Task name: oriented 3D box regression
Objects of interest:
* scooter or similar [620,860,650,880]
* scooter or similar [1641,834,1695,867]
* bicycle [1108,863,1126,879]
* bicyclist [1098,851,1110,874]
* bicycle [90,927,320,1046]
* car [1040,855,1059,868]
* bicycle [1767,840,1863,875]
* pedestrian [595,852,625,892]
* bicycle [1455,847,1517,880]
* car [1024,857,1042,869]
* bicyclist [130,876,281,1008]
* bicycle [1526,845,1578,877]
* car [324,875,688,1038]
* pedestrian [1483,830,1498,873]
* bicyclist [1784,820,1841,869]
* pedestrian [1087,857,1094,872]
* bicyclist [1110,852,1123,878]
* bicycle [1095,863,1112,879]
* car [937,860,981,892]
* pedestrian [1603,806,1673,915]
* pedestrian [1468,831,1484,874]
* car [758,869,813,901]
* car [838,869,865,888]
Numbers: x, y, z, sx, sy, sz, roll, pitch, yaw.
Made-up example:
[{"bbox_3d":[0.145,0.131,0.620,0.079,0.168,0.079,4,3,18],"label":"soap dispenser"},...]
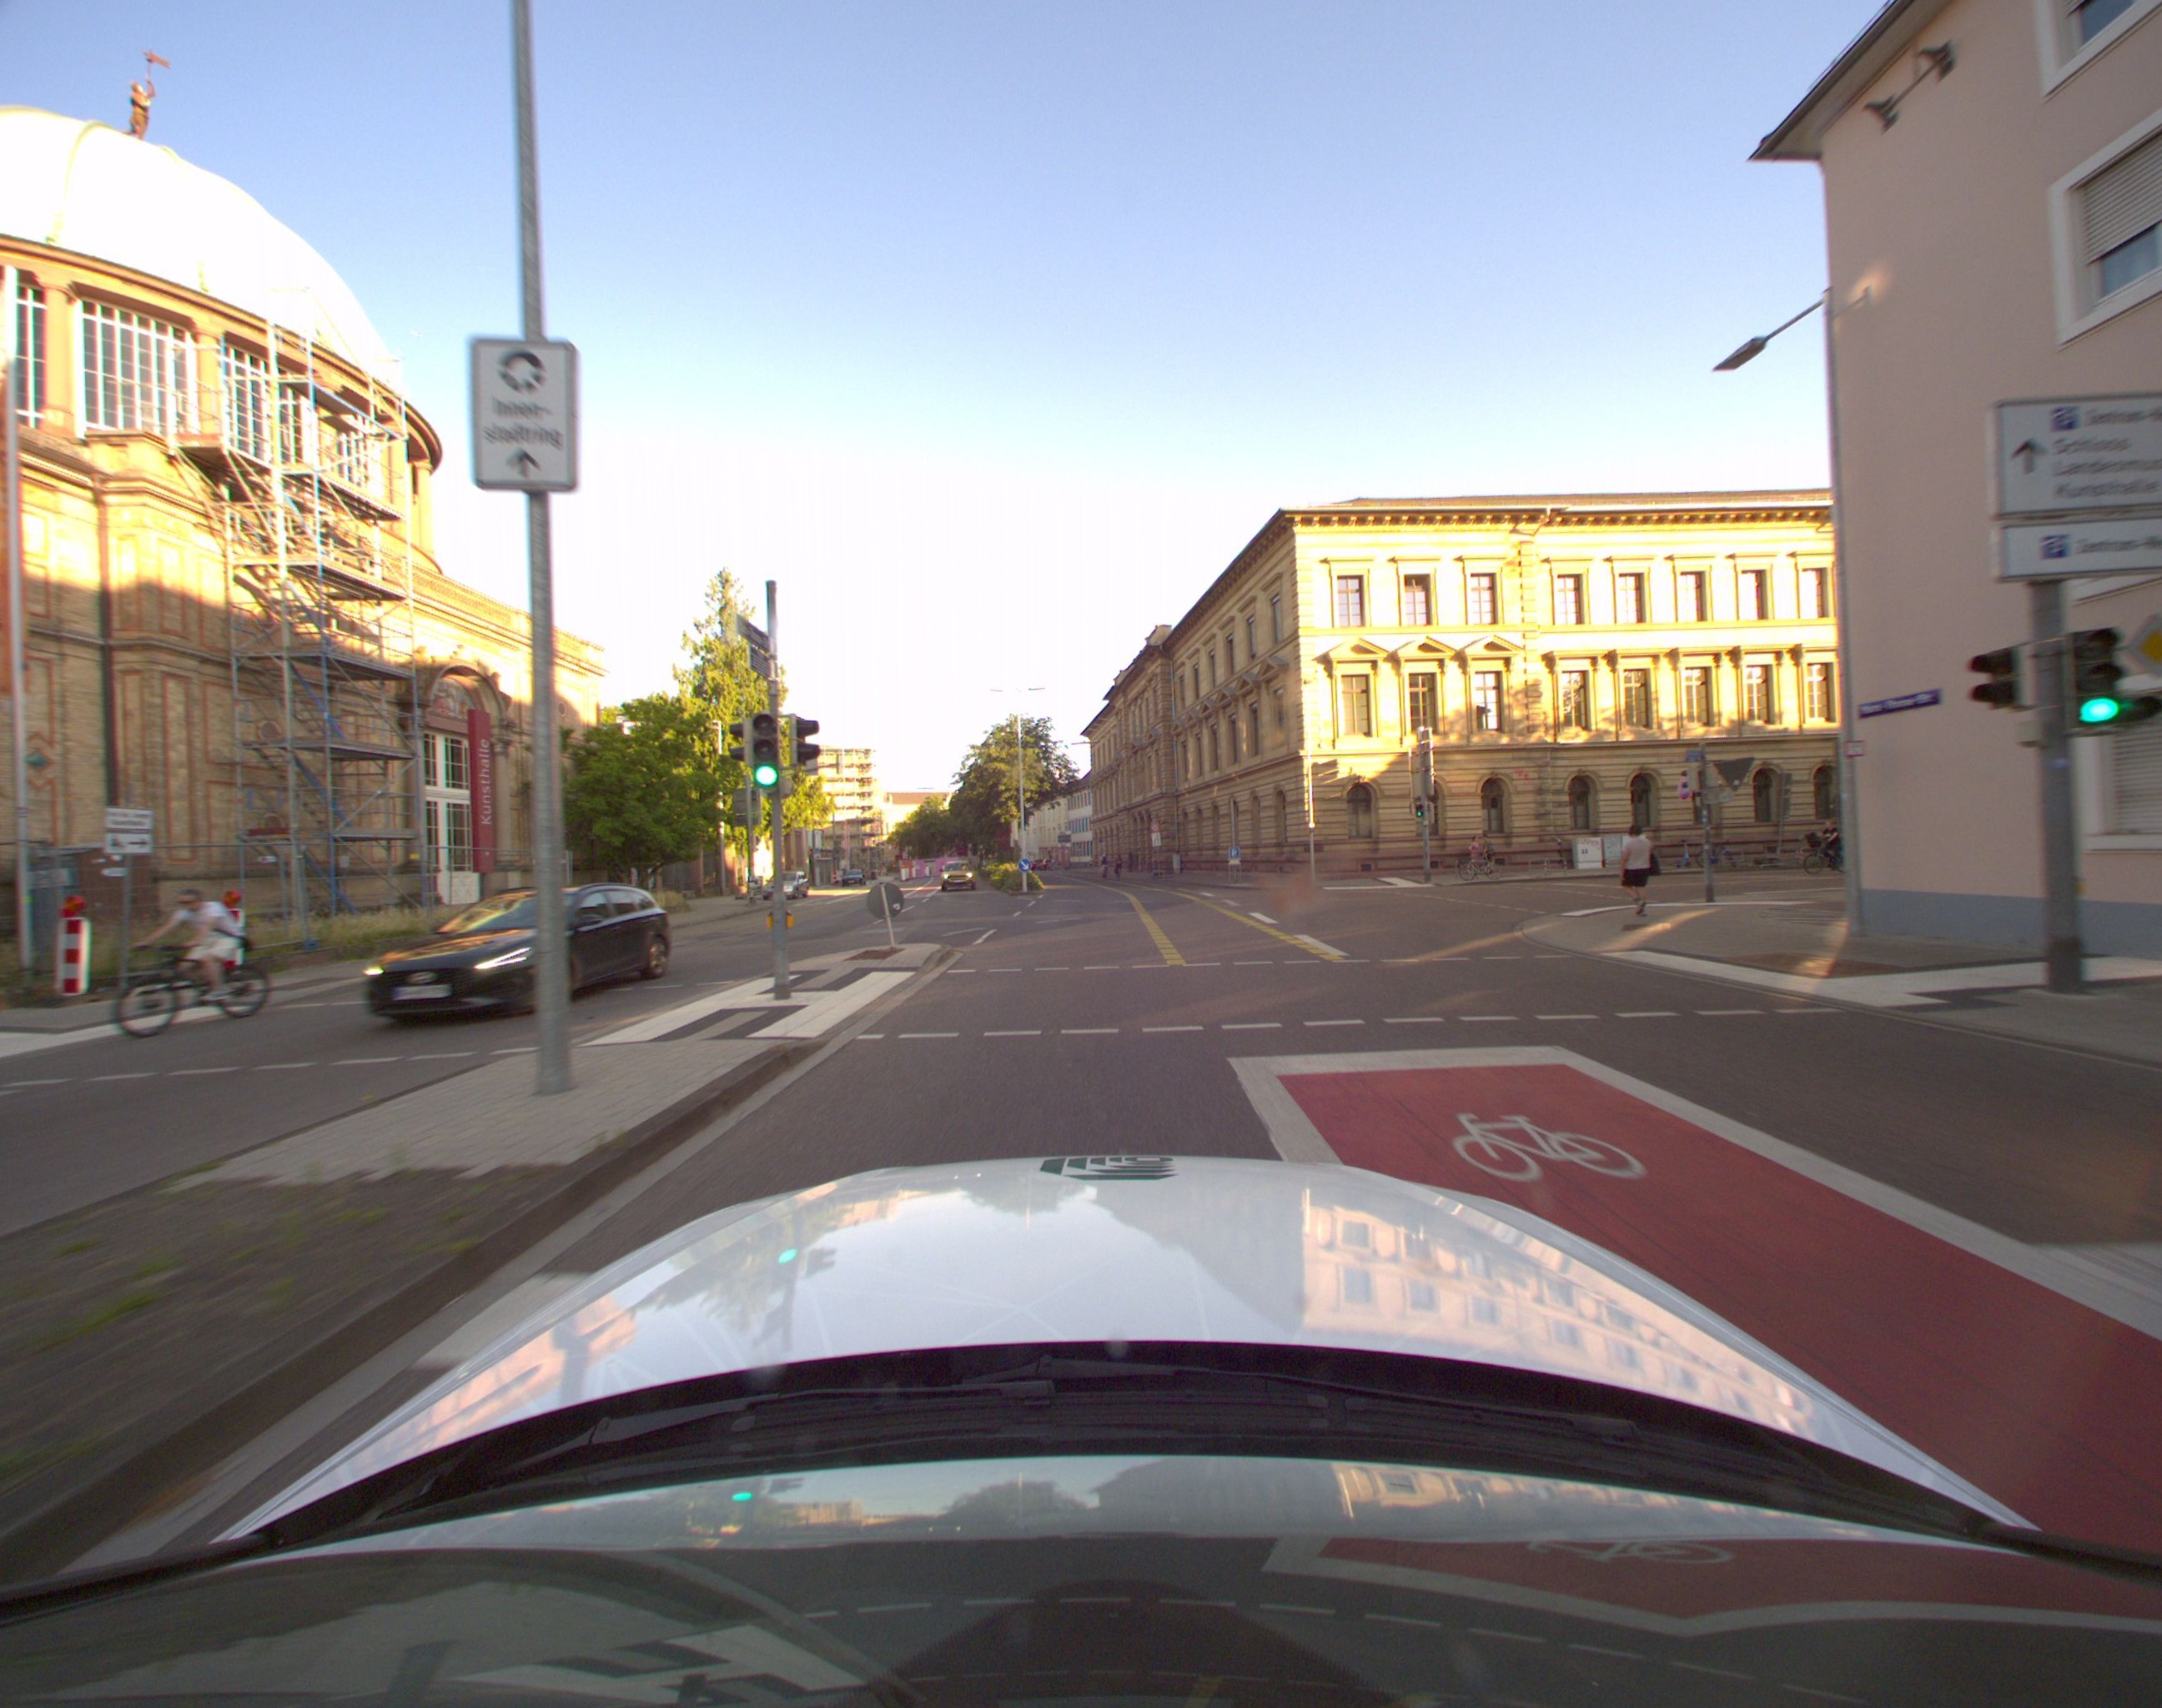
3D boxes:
[{"bbox_3d":[-17.945,0.641,32.789,0.677,0.777,1.027,-2,0,-5],"label":"scooter or similar"},{"bbox_3d":[25.063,-0.137,34.794,0.917,1.327,1.911,-3,0,2],"label":"scooter or similar"},{"bbox_3d":[2.455,1.166,55.803,0.653,1.071,2.248,0,-1,-12],"label":"bicycle"},{"bbox_3d":[1.535,0.574,54.920,0.669,1.566,0.695,0,-1,-13],"label":"bicyclist"},{"bbox_3d":[-10.569,1.545,9.951,0.752,1.090,1.929,-4,0,-5],"label":"bicycle"},{"bbox_3d":[-4.599,1.091,118.849,1.817,1.682,3.895,-2,-1,-18],"label":"car"},{"bbox_3d":[25.503,0.120,28.325,2.572,1.105,0.975,-2,0,-6],"label":"bicycle"},{"bbox_3d":[-19.103,0.732,33.050,0.734,1.579,0.761,-2,0,-5],"label":"pedestrian"},{"bbox_3d":[16.290,0.379,32.794,2.044,1.207,0.862,-3,2,-1],"label":"bicycle"},{"bbox_3d":[-7.412,1.410,126.642,1.817,1.684,3.975,-2,-1,-18],"label":"car"},{"bbox_3d":[-10.600,1.030,9.907,0.746,1.460,0.936,-4,0,-5],"label":"bicyclist"},{"bbox_3d":[18.955,0.277,32.787,1.718,1.144,0.696,-3,2,-1],"label":"bicycle"},{"bbox_3d":[-7.055,1.120,10.713,1.820,1.508,4.420,-2,0,-4],"label":"car"},{"bbox_3d":[17.786,-0.112,35.379,0.529,1.858,0.626,-3,-1,26],"label":"pedestrian"},{"bbox_3d":[25.424,-0.323,28.311,1.040,1.632,0.968,-2,-1,-5],"label":"bicyclist"},{"bbox_3d":[1.163,1.278,99.270,0.815,1.765,1.037,-1,0,-3],"label":"pedestrian"},{"bbox_3d":[2.435,0.728,55.879,0.650,1.760,0.861,0,-1,-12],"label":"bicyclist"},{"bbox_3d":[1.505,1.168,54.976,0.670,1.071,1.891,-1,-1,-15],"label":"bicycle"},{"bbox_3d":[-6.484,1.129,43.581,1.841,1.547,4.113,-3,0,-3],"label":"car"},{"bbox_3d":[10.719,0.118,15.710,0.779,2.013,0.998,-2,0,16],"label":"pedestrian"},{"bbox_3d":[17.322,-0.061,35.739,0.452,1.858,0.422,-2,-1,-40],"label":"pedestrian"},{"bbox_3d":[-15.501,1.636,42.918,1.743,1.547,4.358,-1,-2,-7],"label":"car"},{"bbox_3d":[-19.148,2.022,67.989,1.680,1.351,3.873,-4,0,-10],"label":"car"}]
